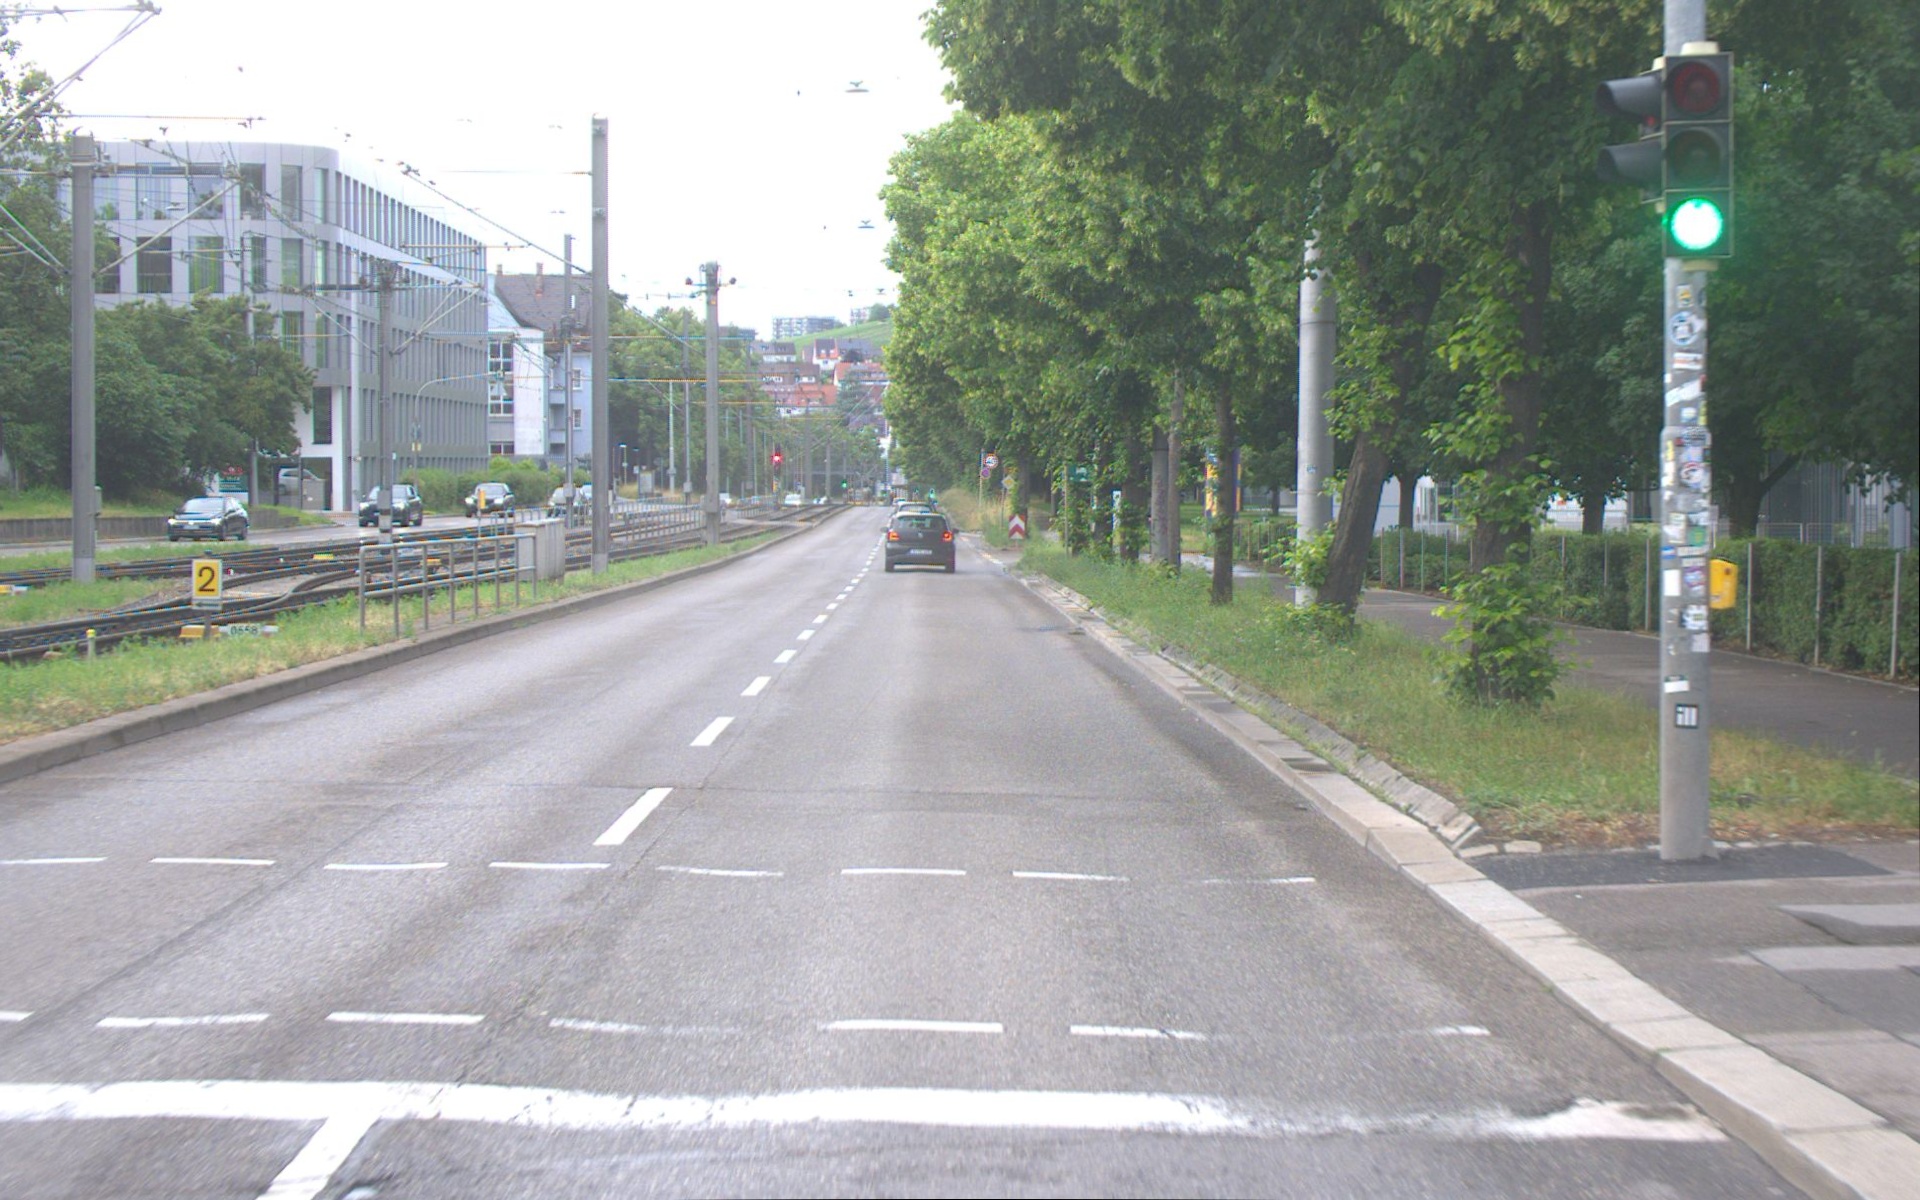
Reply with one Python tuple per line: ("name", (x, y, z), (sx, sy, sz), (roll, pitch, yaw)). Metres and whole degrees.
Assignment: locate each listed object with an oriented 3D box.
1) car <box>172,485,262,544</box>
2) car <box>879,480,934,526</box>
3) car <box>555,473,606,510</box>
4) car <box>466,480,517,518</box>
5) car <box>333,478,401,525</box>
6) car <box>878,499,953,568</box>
("car", (-23.910, -2.775, 110.725), (1.850, 1.626, 3.609), (3, 4, 4))
("car", (-1.727, -3.167, 111.464), (1.726, 1.420, 4.001), (1, 2, -1))
("car", (-18.970, -5.444, 171.977), (1.850, 1.626, 3.609), (3, 4, 4))
("car", (-22.554, -4.875, 165.508), (1.653, 1.626, 3.609), (3, 4, 4))
("car", (-23.998, -3.998, 139.306), (1.850, 1.626, 3.609), (3, 4, 4))
("car", (-1.074, -1.601, 81.869), (1.726, 1.535, 4.001), (1, 2, -1))
